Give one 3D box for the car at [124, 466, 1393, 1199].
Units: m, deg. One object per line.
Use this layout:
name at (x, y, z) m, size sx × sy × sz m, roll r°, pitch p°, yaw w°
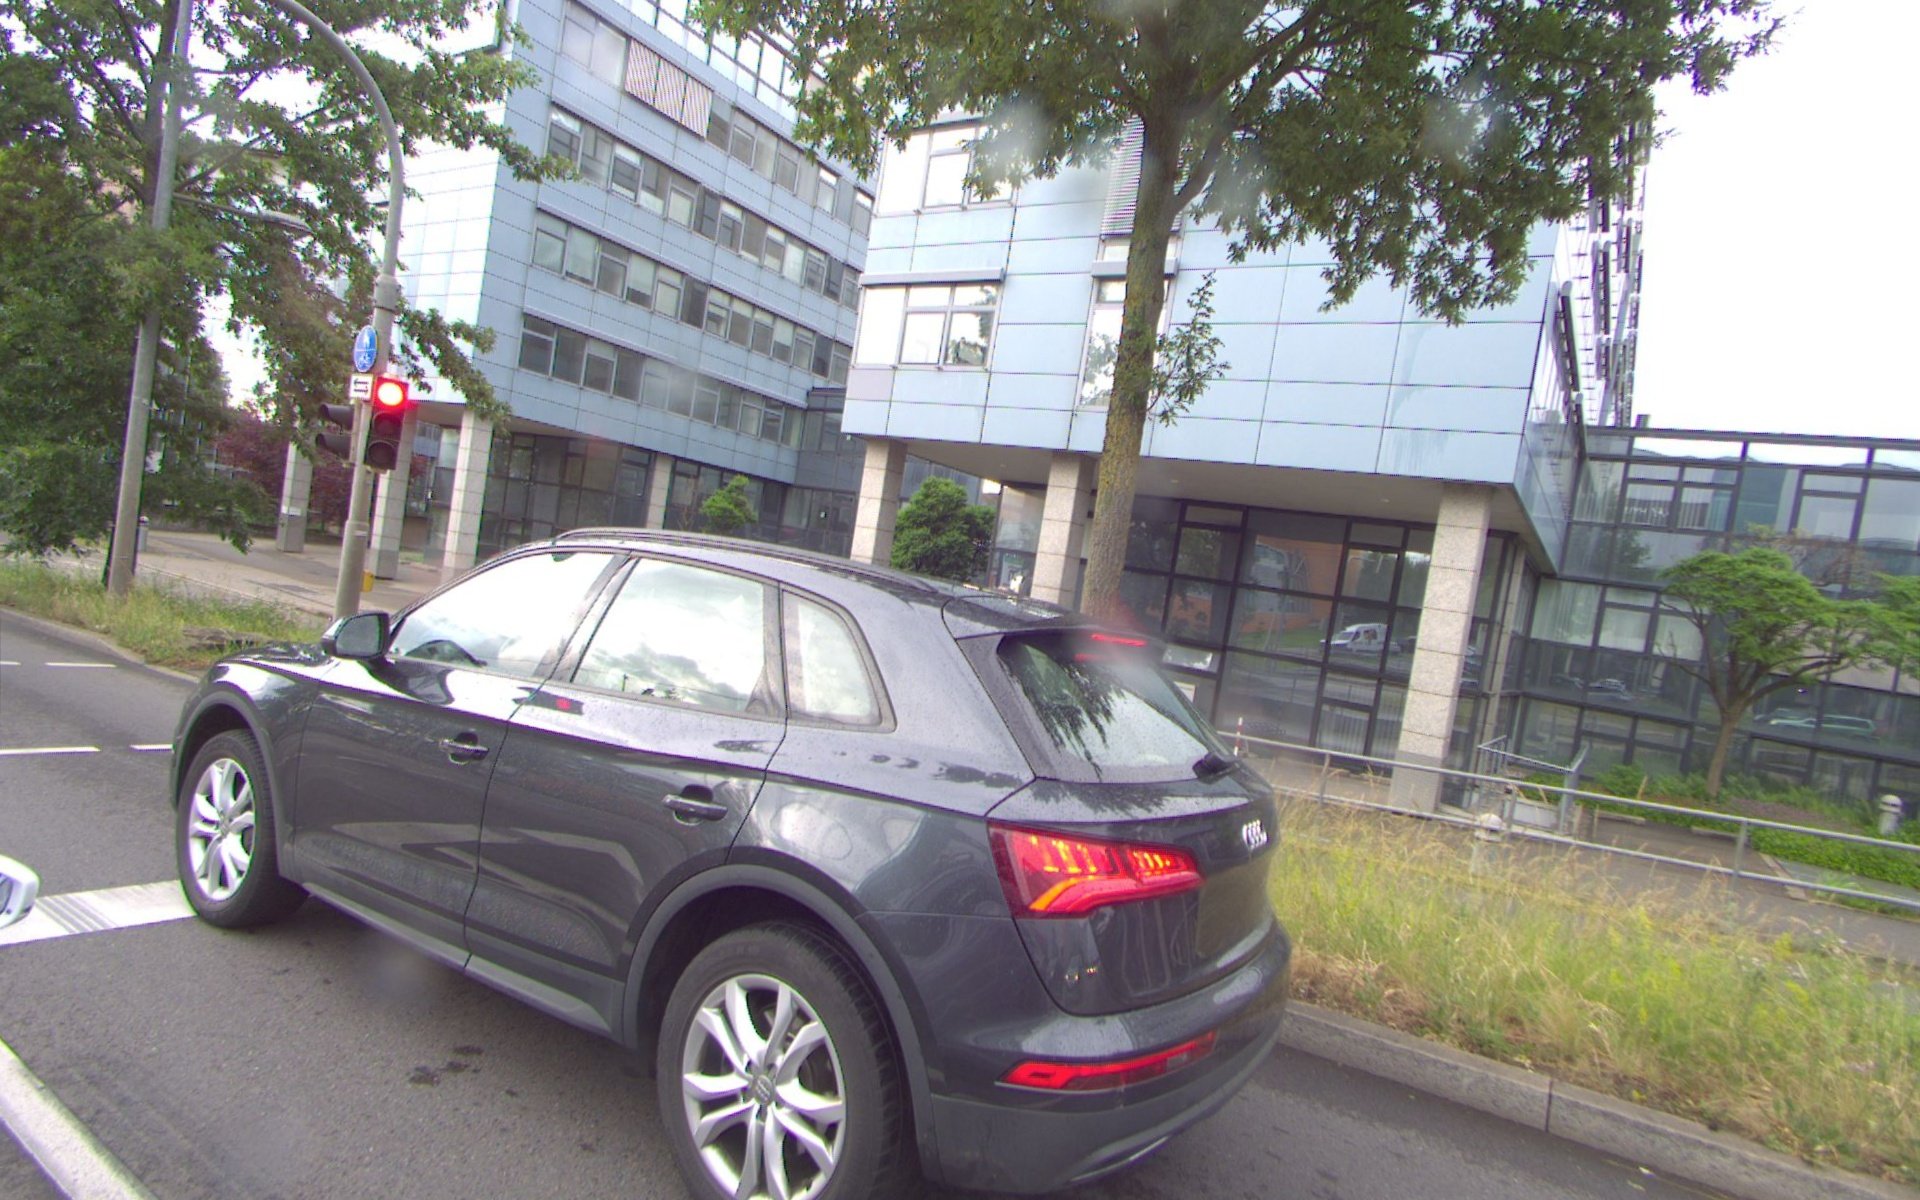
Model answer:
car at (-0.980, 0.573, 3.718) m, size 4.396 × 1.632 × 1.821 m, roll 7°, pitch -1°, yaw 32°
